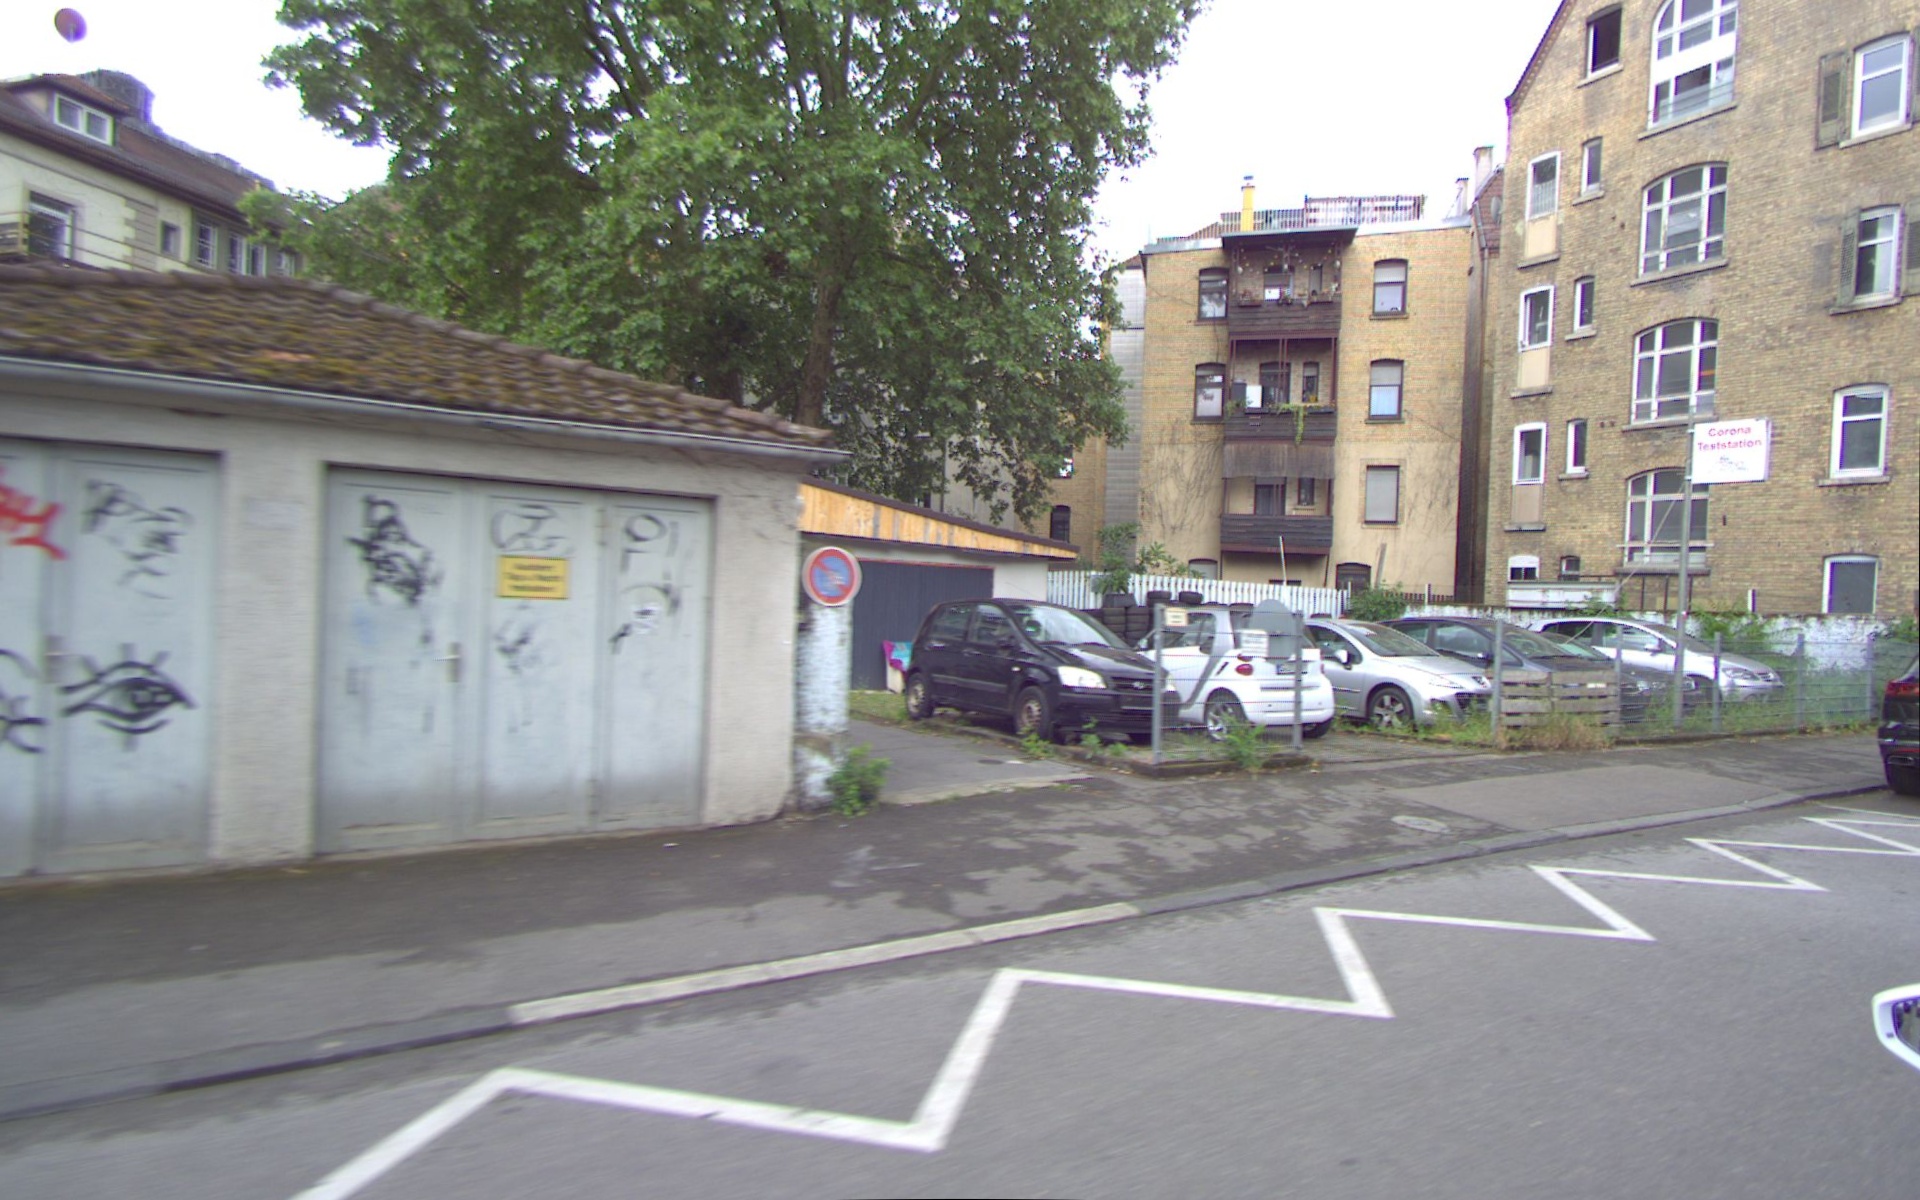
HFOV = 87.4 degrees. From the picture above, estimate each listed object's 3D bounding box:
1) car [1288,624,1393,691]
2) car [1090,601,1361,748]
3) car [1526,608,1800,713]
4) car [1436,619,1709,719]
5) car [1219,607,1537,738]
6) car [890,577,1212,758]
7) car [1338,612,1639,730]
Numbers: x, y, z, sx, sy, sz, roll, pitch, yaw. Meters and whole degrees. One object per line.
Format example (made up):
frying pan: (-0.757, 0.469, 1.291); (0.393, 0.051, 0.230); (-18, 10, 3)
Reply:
car: (9.147, 1.308, 23.999); (1.647, 1.391, 3.501); (1, 0, 33)
car: (3.217, 0.851, 12.573); (1.831, 1.585, 2.835); (2, -2, -29)
car: (12.171, 0.987, 17.605); (1.668, 1.633, 3.581); (2, -2, -29)
car: (9.950, 1.065, 16.575); (1.528, 1.433, 3.581); (2, -2, -29)
car: (5.542, 0.899, 13.758); (1.831, 1.524, 3.707); (2, -2, -29)
car: (0.832, 0.671, 11.313); (1.831, 1.665, 3.746); (2, -2, -29)
car: (7.748, 0.977, 15.041); (1.831, 1.524, 3.581); (2, -2, -29)
